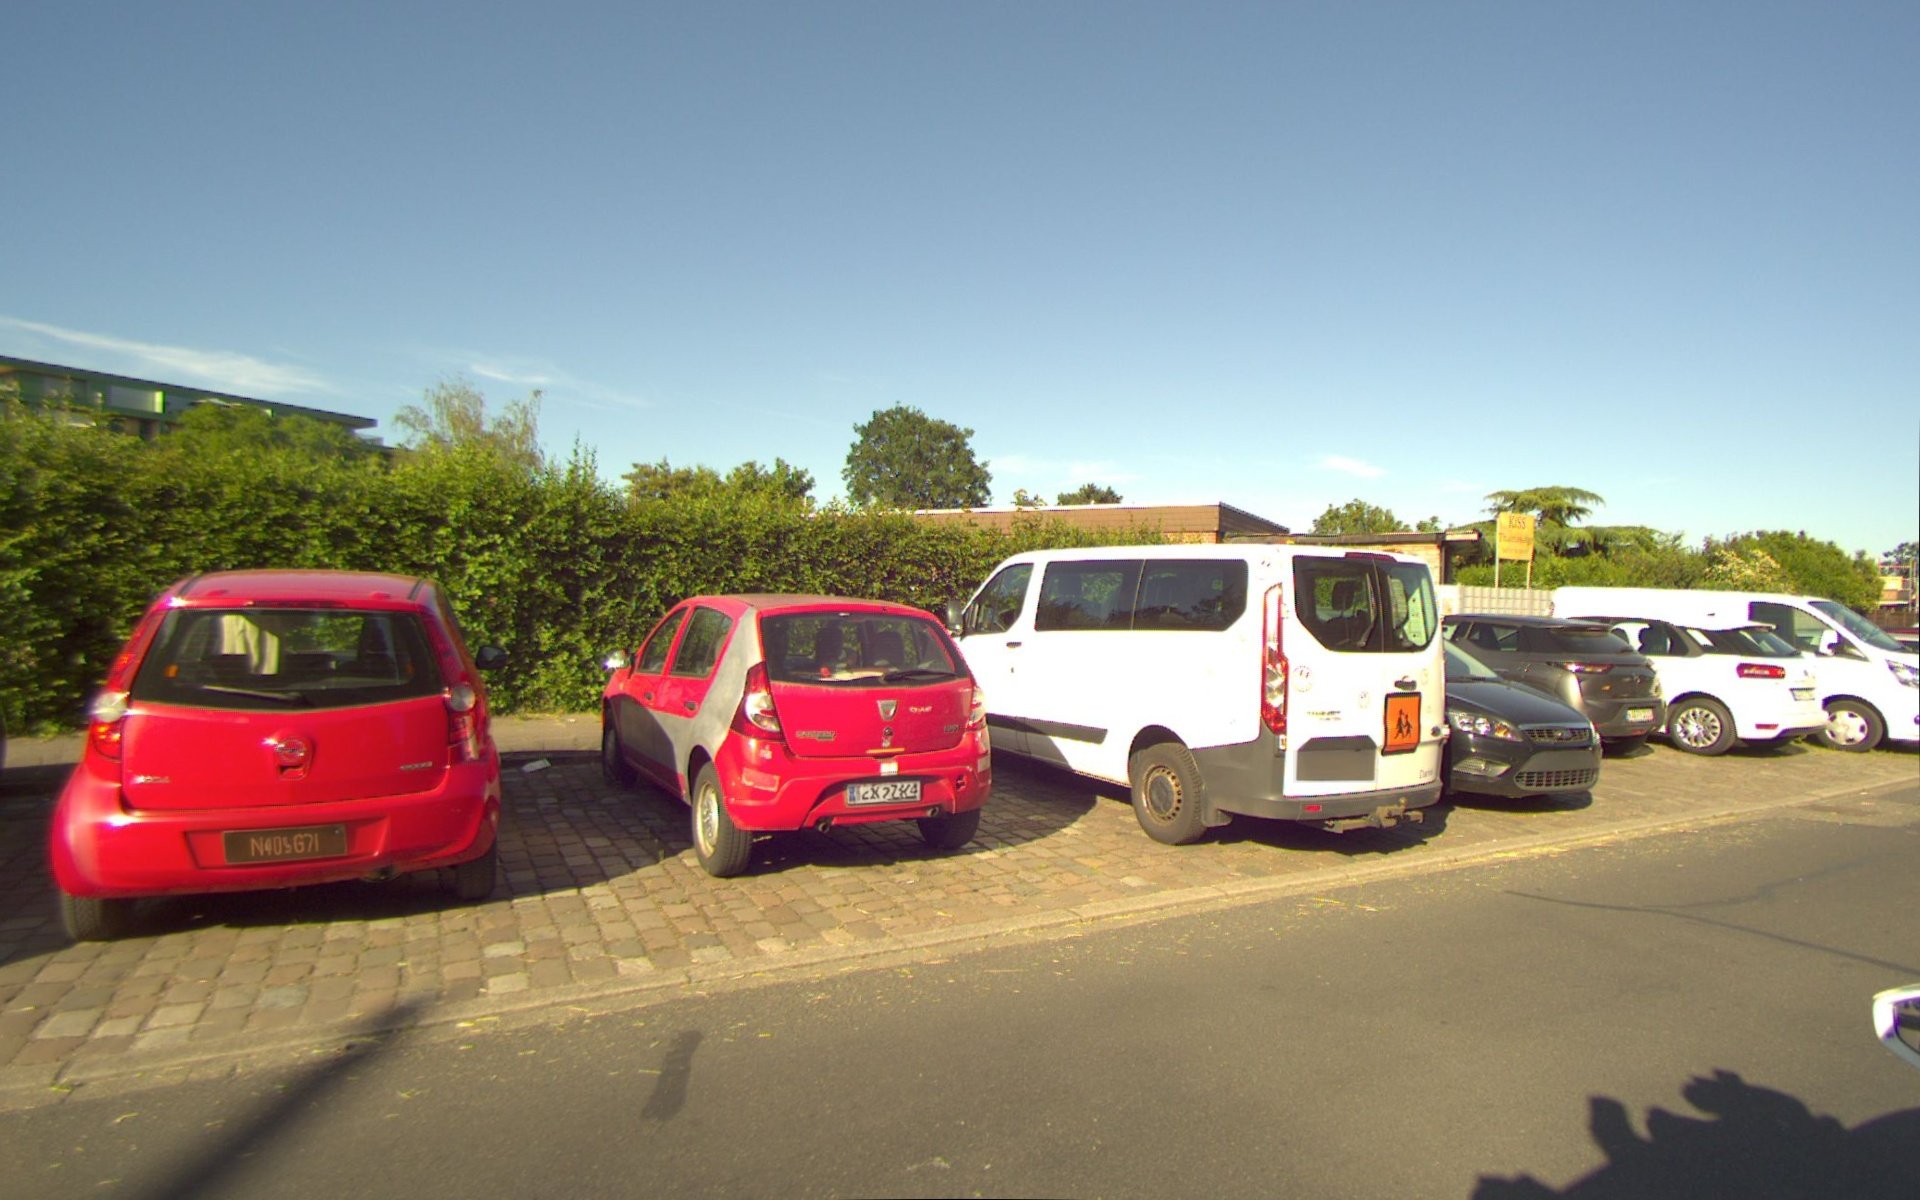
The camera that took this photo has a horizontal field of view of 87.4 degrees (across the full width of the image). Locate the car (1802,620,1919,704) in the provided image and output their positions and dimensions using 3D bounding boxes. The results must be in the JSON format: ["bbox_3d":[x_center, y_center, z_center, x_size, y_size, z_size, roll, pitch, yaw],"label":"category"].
[{"bbox_3d":[19.213,1.276,19.889,1.708,1.509,3.496,2,1,-30],"label":"car"}]

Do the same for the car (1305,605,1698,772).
[{"bbox_3d":[6.346,0.932,12.211,1.861,1.507,3.751,2,1,-29],"label":"car"}]

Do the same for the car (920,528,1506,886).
[{"bbox_3d":[1.595,0.543,8.049,1.976,2.003,4.458,2,1,-29],"label":"car"}]

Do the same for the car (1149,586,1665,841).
[{"bbox_3d":[3.869,0.825,9.493,1.861,1.729,4.133,2,1,-29],"label":"car"}]

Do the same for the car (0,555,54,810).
[{"bbox_3d":[-5.823,0.535,4.369,1.726,1.499,4.524,1,2,-28],"label":"car"}]

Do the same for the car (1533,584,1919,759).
[{"bbox_3d":[11.178,0.859,14.333,2.059,1.946,4.762,2,1,-32],"label":"car"}]

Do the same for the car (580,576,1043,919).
[{"bbox_3d":[-1.254,0.685,6.854,1.832,1.588,3.581,1,2,-32],"label":"car"}]

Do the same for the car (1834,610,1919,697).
[{"bbox_3d":[21.472,1.181,21.406,1.907,1.804,3.950,1,1,-36],"label":"car"}]

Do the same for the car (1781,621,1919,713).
[{"bbox_3d":[17.441,1.250,18.264,1.617,1.509,3.496,2,1,-30],"label":"car"}]

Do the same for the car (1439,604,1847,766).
[{"bbox_3d":[8.693,0.965,13.171,1.861,1.604,3.969,2,1,-29],"label":"car"}]

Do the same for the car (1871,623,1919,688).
[{"bbox_3d":[24.880,1.421,24.430,1.773,1.553,3.784,2,0,-38],"label":"car"}]

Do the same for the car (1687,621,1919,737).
[{"bbox_3d":[13.636,1.173,15.510,1.617,1.466,3.496,2,1,-30],"label":"car"}]

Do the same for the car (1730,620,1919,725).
[{"bbox_3d":[15.384,1.193,16.918,1.620,1.509,3.491,0,2,-34],"label":"car"}]

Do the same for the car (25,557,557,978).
[{"bbox_3d":[-3.541,0.581,5.818,1.858,1.588,3.586,1,2,-28],"label":"car"}]
